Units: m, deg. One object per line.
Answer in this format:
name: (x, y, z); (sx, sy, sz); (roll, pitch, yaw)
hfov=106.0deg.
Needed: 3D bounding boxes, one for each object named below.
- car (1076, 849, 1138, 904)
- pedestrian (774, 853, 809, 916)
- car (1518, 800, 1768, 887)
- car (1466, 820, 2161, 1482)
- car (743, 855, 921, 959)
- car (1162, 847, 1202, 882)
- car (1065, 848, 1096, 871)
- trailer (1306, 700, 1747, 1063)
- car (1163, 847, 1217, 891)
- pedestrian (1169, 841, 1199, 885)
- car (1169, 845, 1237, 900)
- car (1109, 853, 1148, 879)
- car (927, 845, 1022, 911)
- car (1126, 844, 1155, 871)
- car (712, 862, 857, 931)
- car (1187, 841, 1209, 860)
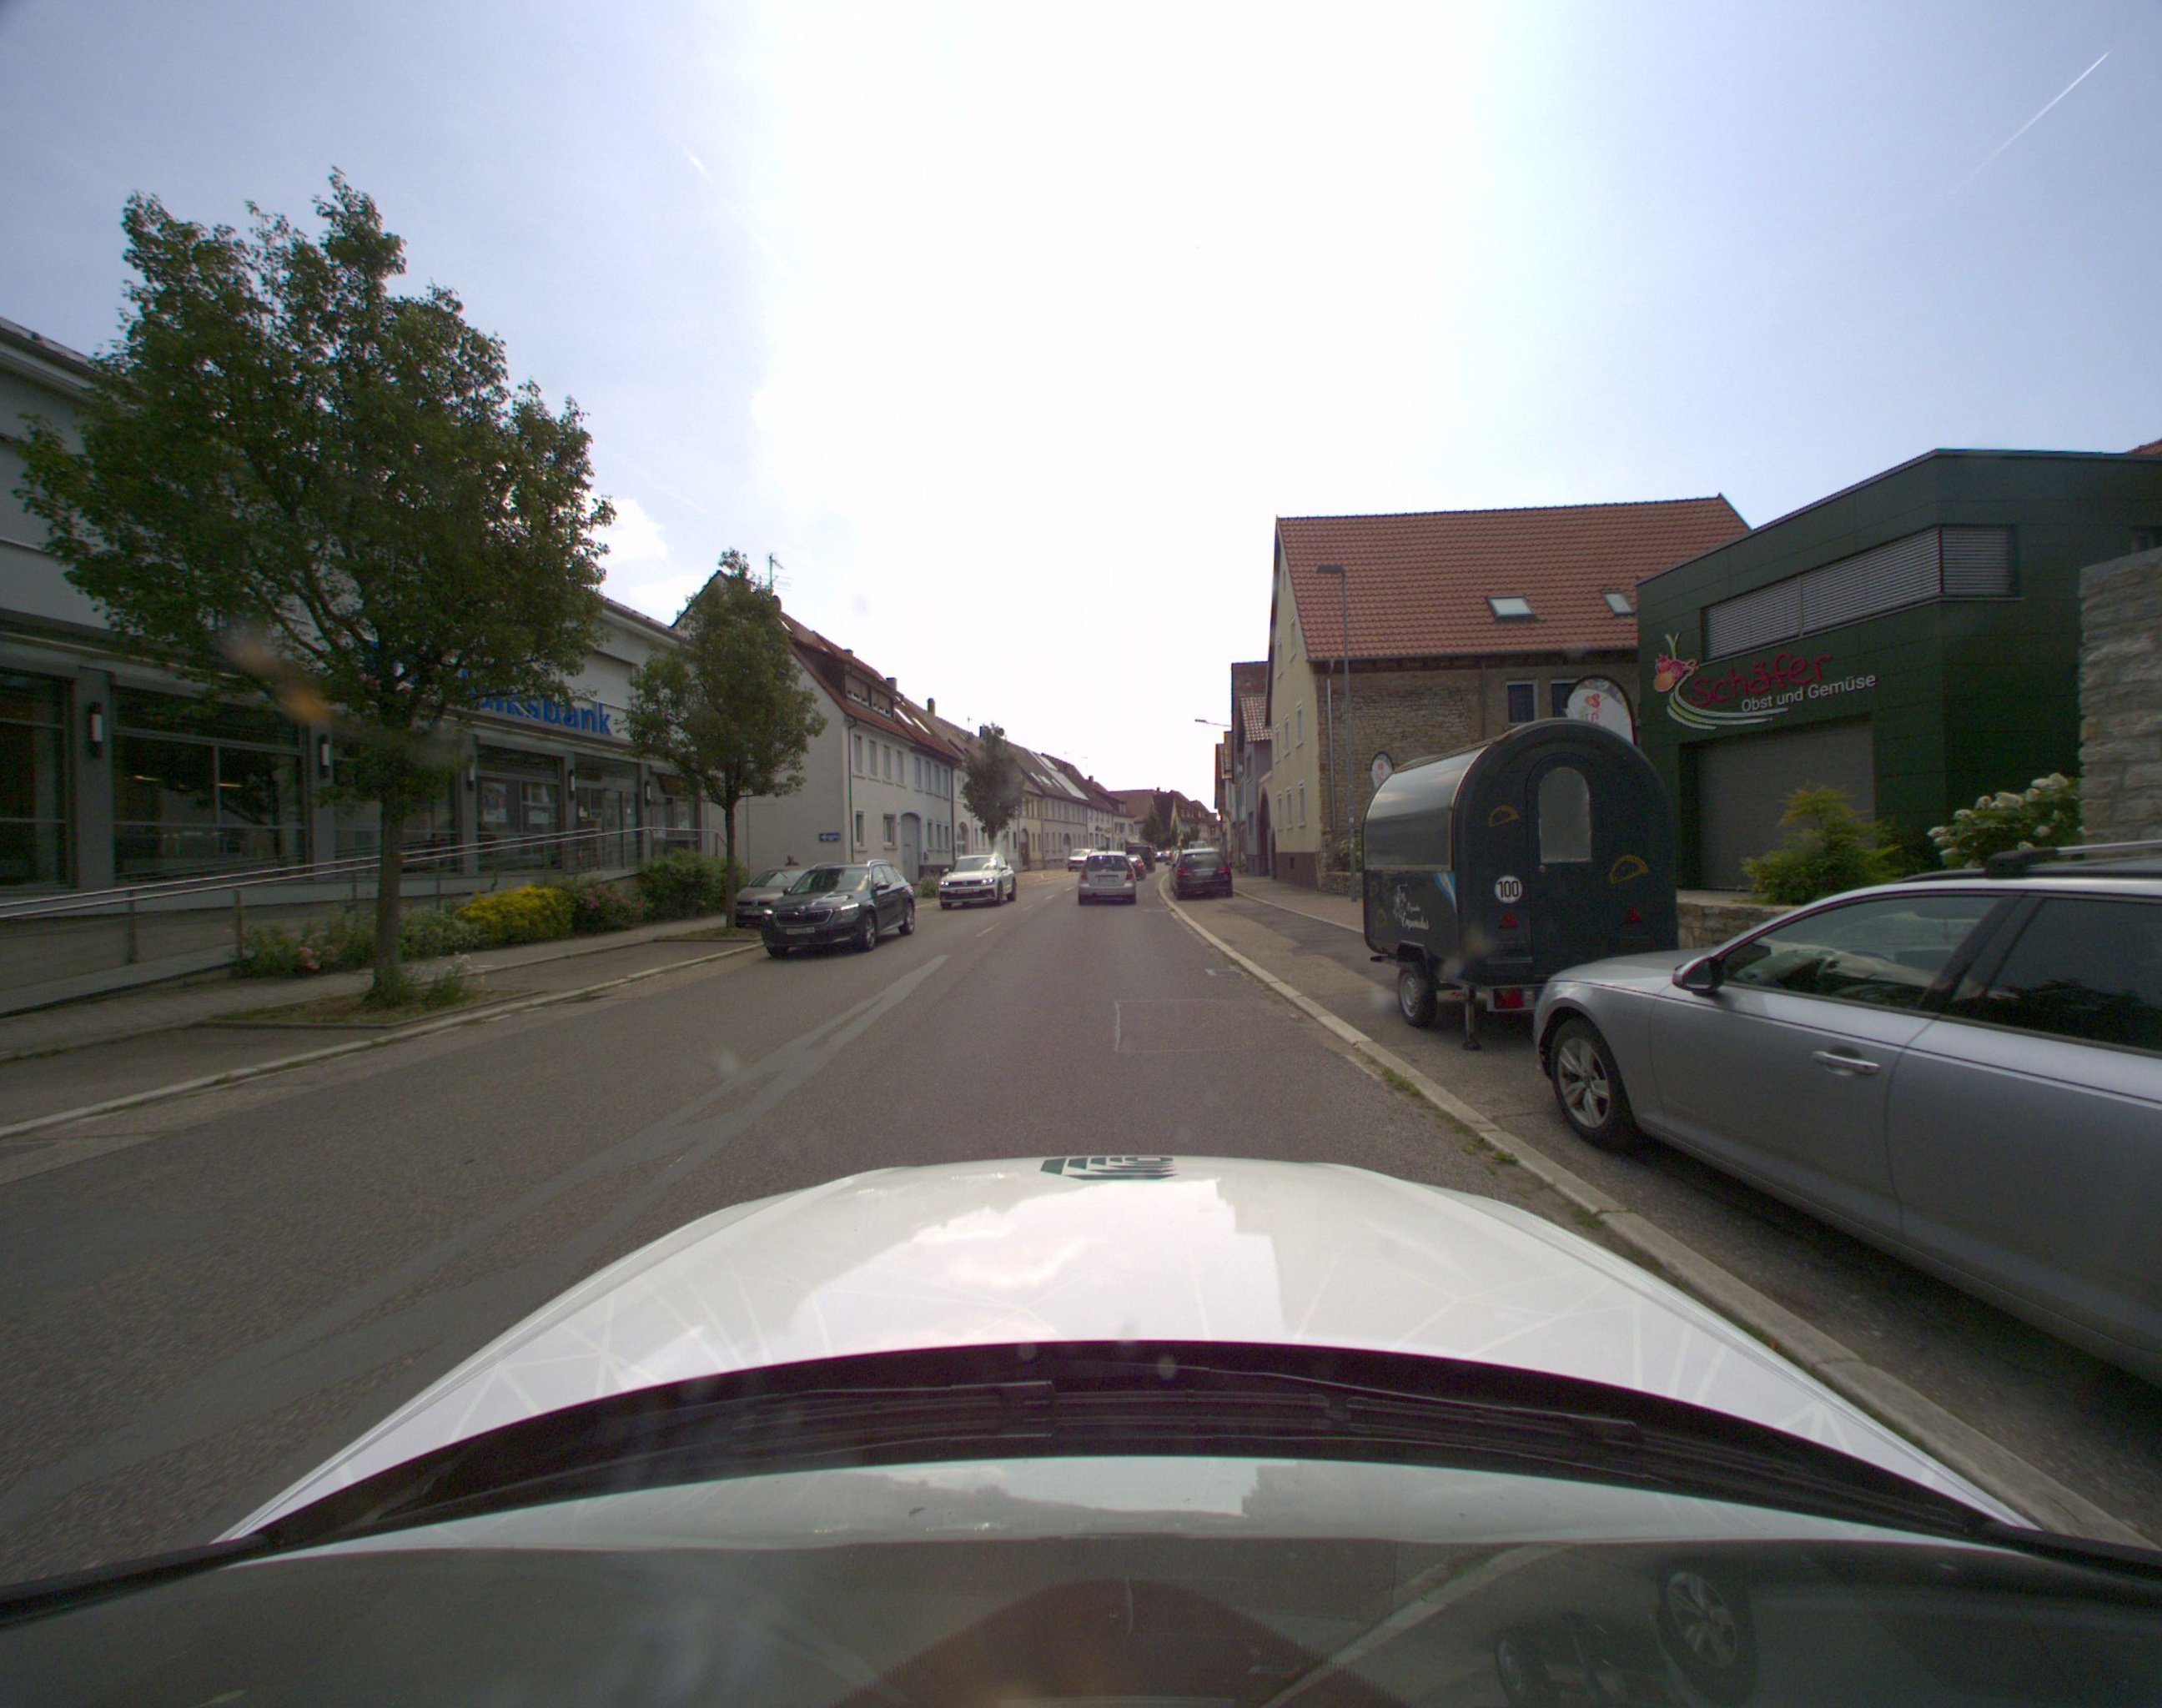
car: (0.892, 0.665, 25.760); (1.761, 1.595, 4.005); (1, -1, 5)
pedestrian: (-8.568, 0.894, 24.101); (0.736, 1.801, 0.642); (-3, -1, 0)
car: (14.133, -0.255, 20.668); (5.039, 1.950, 1.998); (-2, 0, -3)
car: (3.353, 0.648, 2.709); (1.870, 1.481, 4.673); (-2, 0, 0)
car: (-4.320, 0.833, 14.837); (1.736, 1.526, 4.023); (-3, 0, 3)
car: (5.210, 0.544, 41.810); (1.851, 1.626, 4.205); (-3, -1, 7)
car: (0.002, 0.458, 71.336); (2.080, 1.884, 4.009); (-2, 0, 8)
trailer: (3.486, 0.170, 7.249); (1.840, 2.354, 3.587); (-2, 0, -1)
car: (4.263, 0.575, 32.305); (1.852, 1.531, 4.202); (-3, -1, 4)
pedestrian: (4.488, 0.379, 35.434); (1.088, 1.821, 1.474); (-2, 0, 12)
car: (3.932, 0.550, 26.691); (1.983, 1.559, 4.008); (-3, 0, 7)
car: (2.728, 0.668, 45.995); (1.934, 1.407, 4.008); (1, -1, 8)
car: (-3.280, 0.692, 26.119); (1.945, 1.784, 4.658); (-4, 0, 5)
car: (4.487, 0.258, 60.693); (1.758, 1.888, 4.458); (0, -1, 9)
car: (-7.130, 0.961, 20.080); (1.796, 1.460, 4.162); (-1, 0, 4)
car: (14.495, -0.466, 100.897); (2.220, 2.222, 4.014); (-3, -1, 13)
